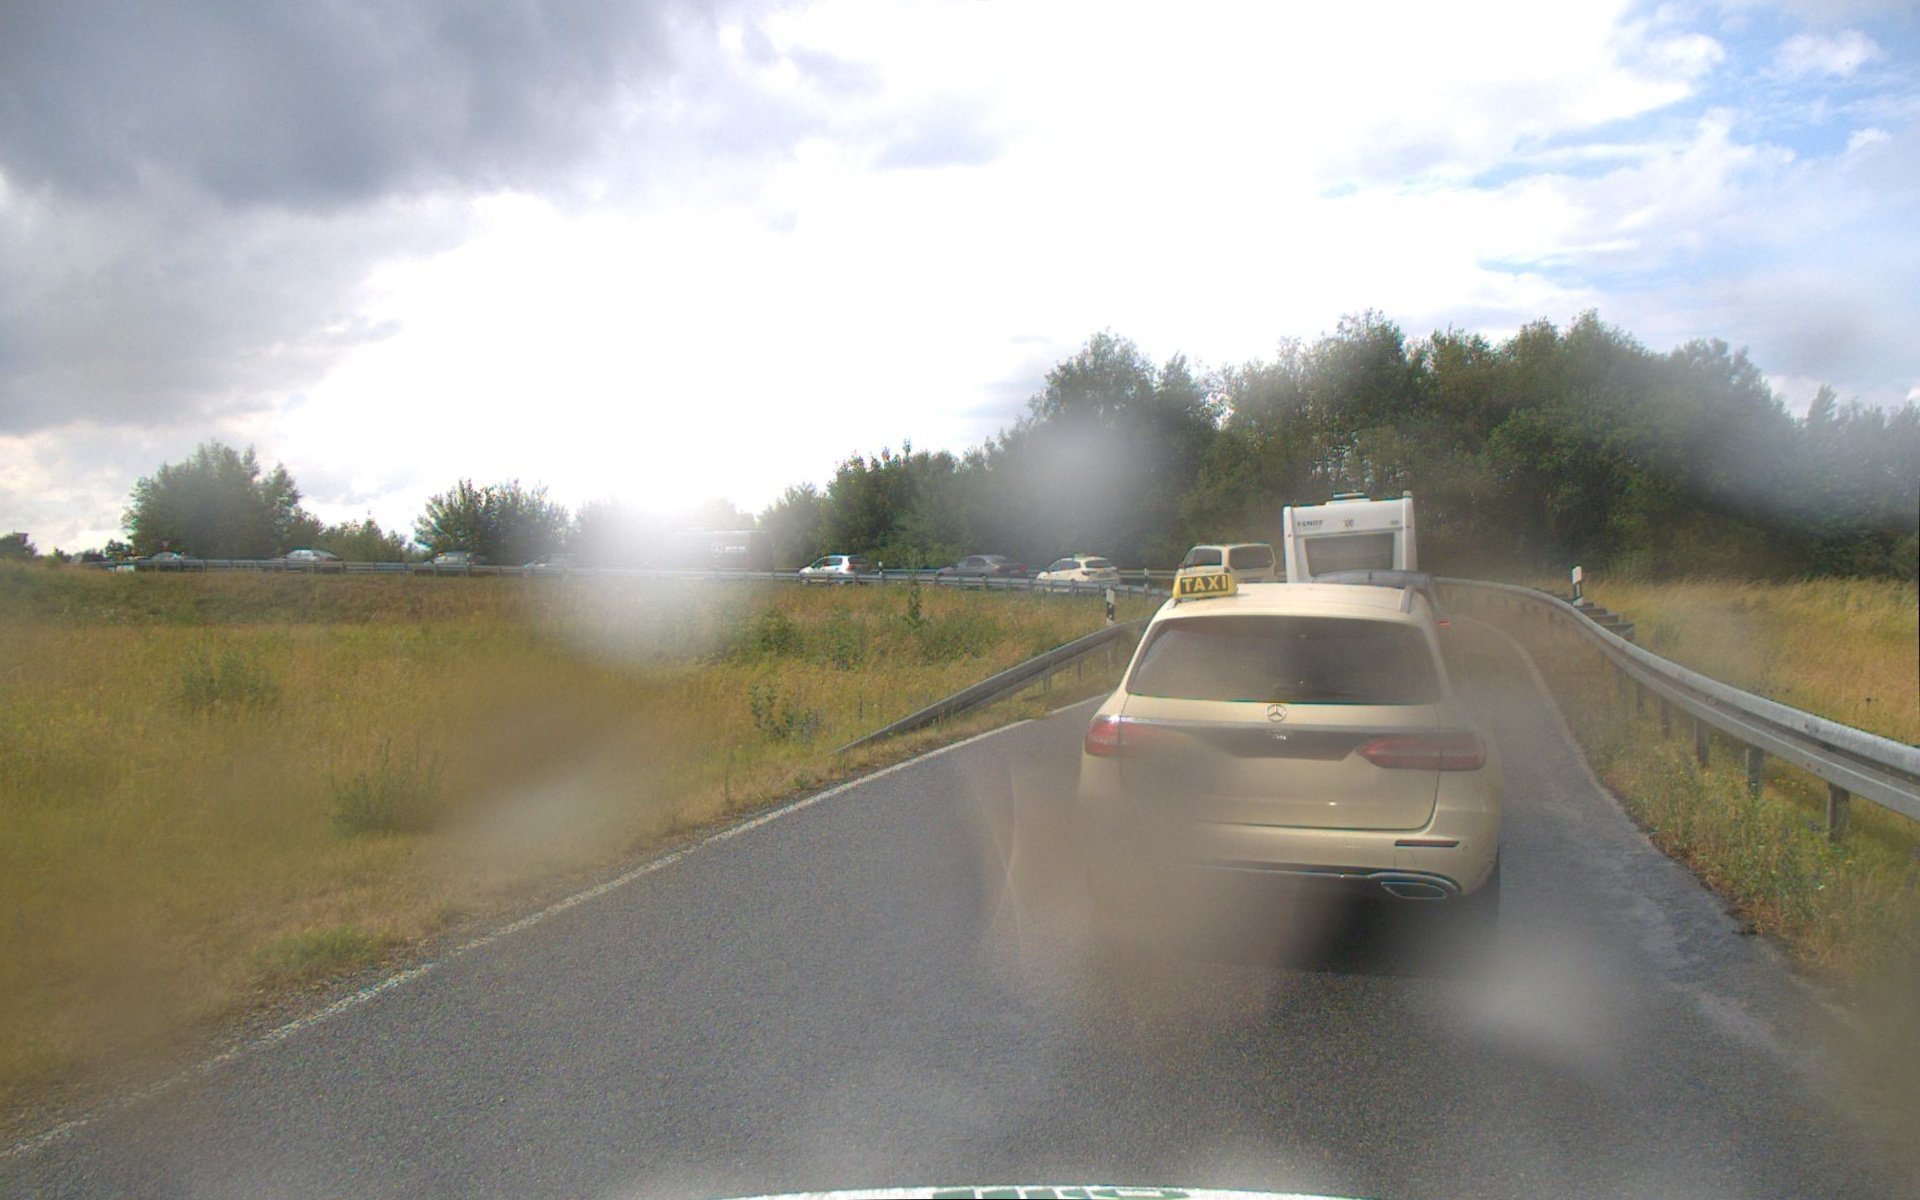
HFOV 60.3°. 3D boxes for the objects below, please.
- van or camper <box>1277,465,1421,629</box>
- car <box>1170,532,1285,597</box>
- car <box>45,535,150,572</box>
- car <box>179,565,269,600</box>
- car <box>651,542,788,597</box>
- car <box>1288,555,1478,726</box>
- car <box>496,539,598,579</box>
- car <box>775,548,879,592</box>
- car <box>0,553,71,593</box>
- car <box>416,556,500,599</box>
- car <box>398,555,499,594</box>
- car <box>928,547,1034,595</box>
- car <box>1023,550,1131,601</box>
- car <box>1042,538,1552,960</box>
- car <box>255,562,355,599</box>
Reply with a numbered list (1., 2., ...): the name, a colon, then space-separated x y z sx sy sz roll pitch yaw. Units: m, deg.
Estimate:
1. van or camper: 7.435 -0.884 31.161 2.379 2.777 6.005 0 0 16
2. car: 8.619 -1.121 53.778 1.959 1.894 5.042 -1 -1 -12
3. car: -49.494 -2.647 95.021 4.937 1.894 2.000 -2 -1 0
4. car: -43.438 -1.003 97.648 4.401 1.894 2.001 -2 -1 4
5. car: -12.354 -1.535 84.767 6.839 2.640 2.866 0 1 34
6. car: 4.470 0.362 17.188 1.682 1.551 4.002 -1 0 17
7. car: -22.047 -2.150 88.295 4.935 1.894 2.001 -2 -1 19
8. car: -6.466 -1.424 80.183 4.957 1.894 1.992 -2 -1 37
9. car: -51.208 -1.483 91.048 3.939 2.049 1.811 0 -3 -27
10. car: -27.478 -1.255 90.571 3.908 2.046 2.001 1 9 25
11. car: -28.026 -1.383 90.674 4.933 1.894 2.002 -2 -1 12
12. car: 0.871 -1.252 72.132 1.979 1.894 4.989 -1 -1 -37
13. car: 4.488 -0.935 64.293 1.969 1.894 5.015 0 0 -26
14. car: 1.847 0.561 8.475 1.875 1.534 4.599 -1 0 15
15. car: -36.843 -1.077 93.064 4.933 1.894 2.002 -2 -1 12
